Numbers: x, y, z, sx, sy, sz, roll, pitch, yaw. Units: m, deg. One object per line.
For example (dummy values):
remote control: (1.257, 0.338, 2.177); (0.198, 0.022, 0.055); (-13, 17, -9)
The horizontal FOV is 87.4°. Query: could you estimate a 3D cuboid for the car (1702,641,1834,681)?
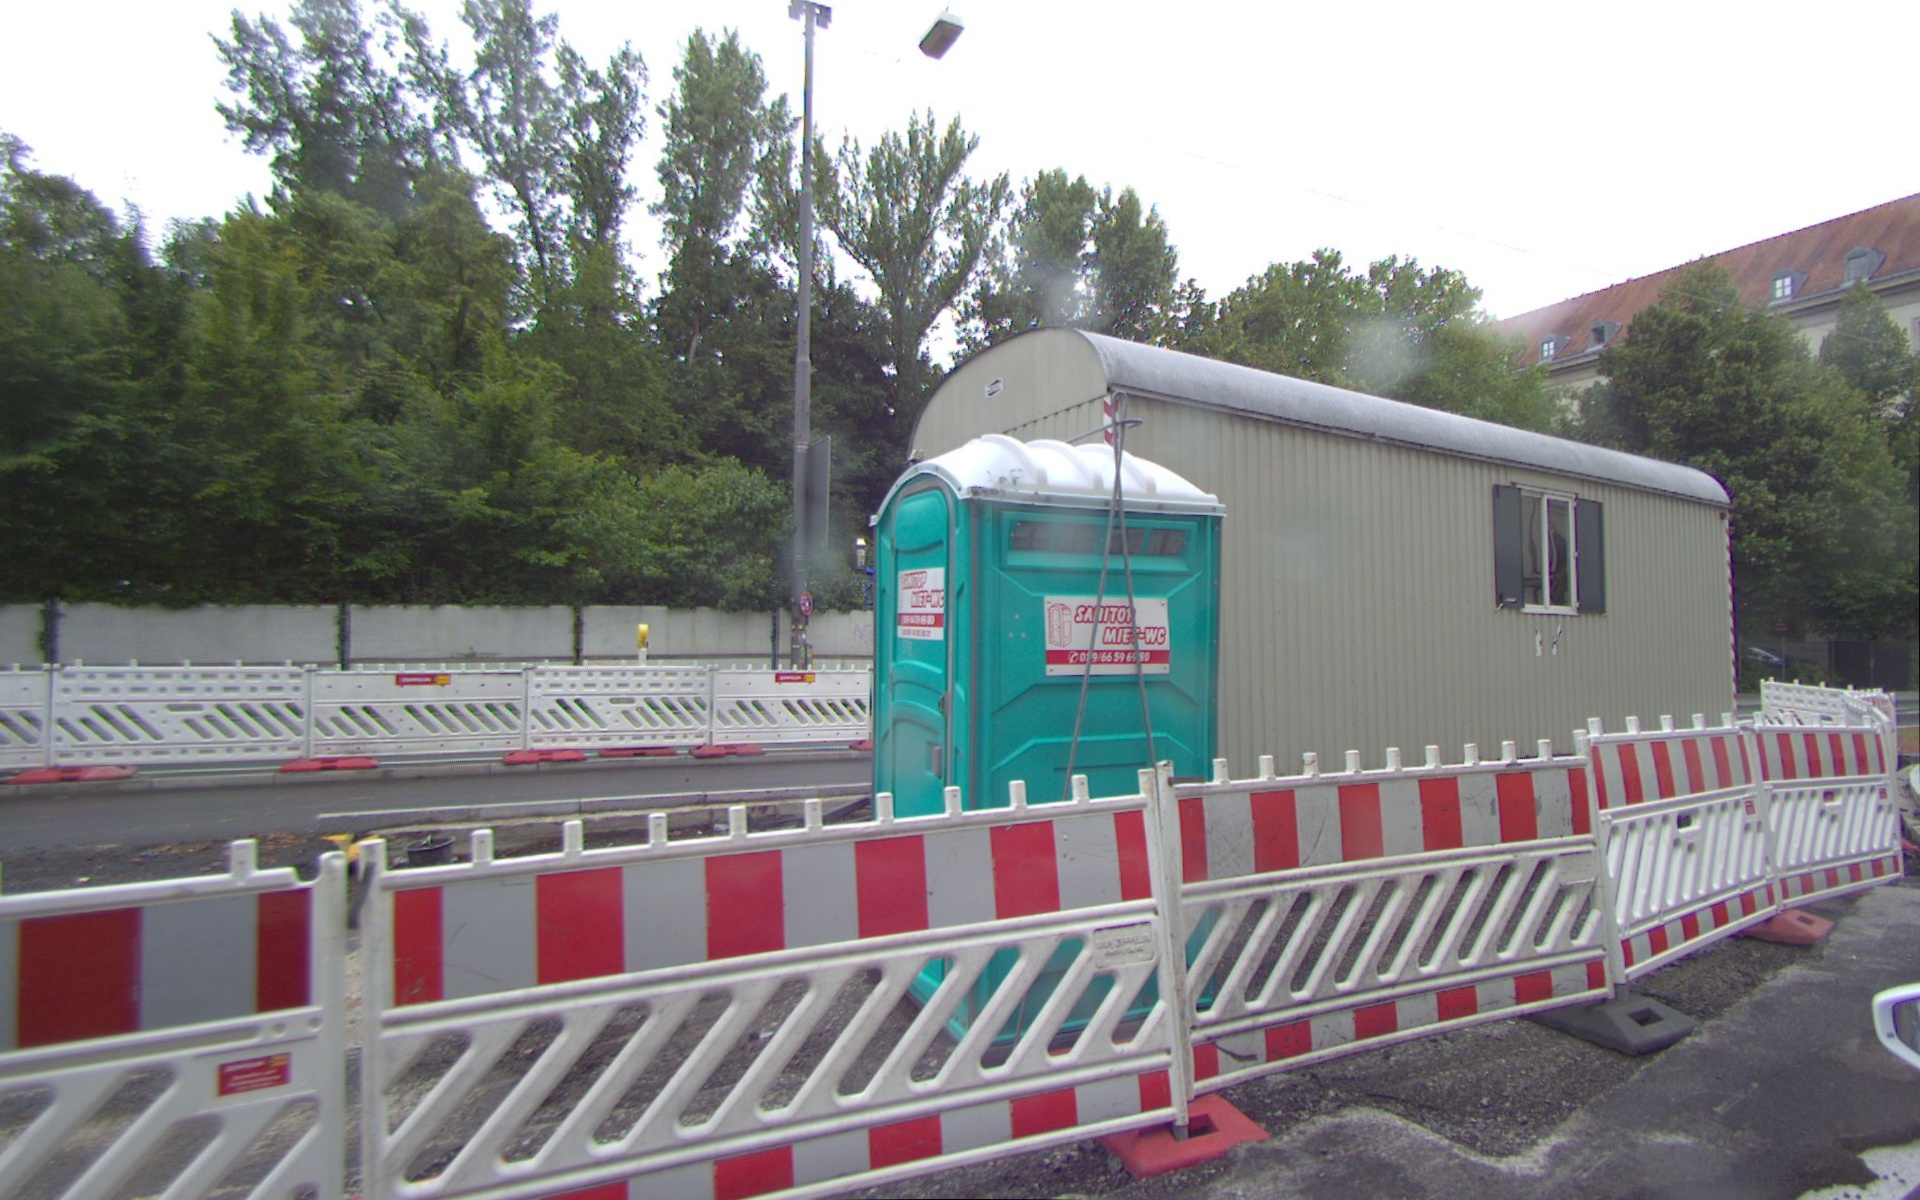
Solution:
car: (36.139, 2.687, 45.039); (1.781, 1.670, 4.249); (1, -2, -26)
